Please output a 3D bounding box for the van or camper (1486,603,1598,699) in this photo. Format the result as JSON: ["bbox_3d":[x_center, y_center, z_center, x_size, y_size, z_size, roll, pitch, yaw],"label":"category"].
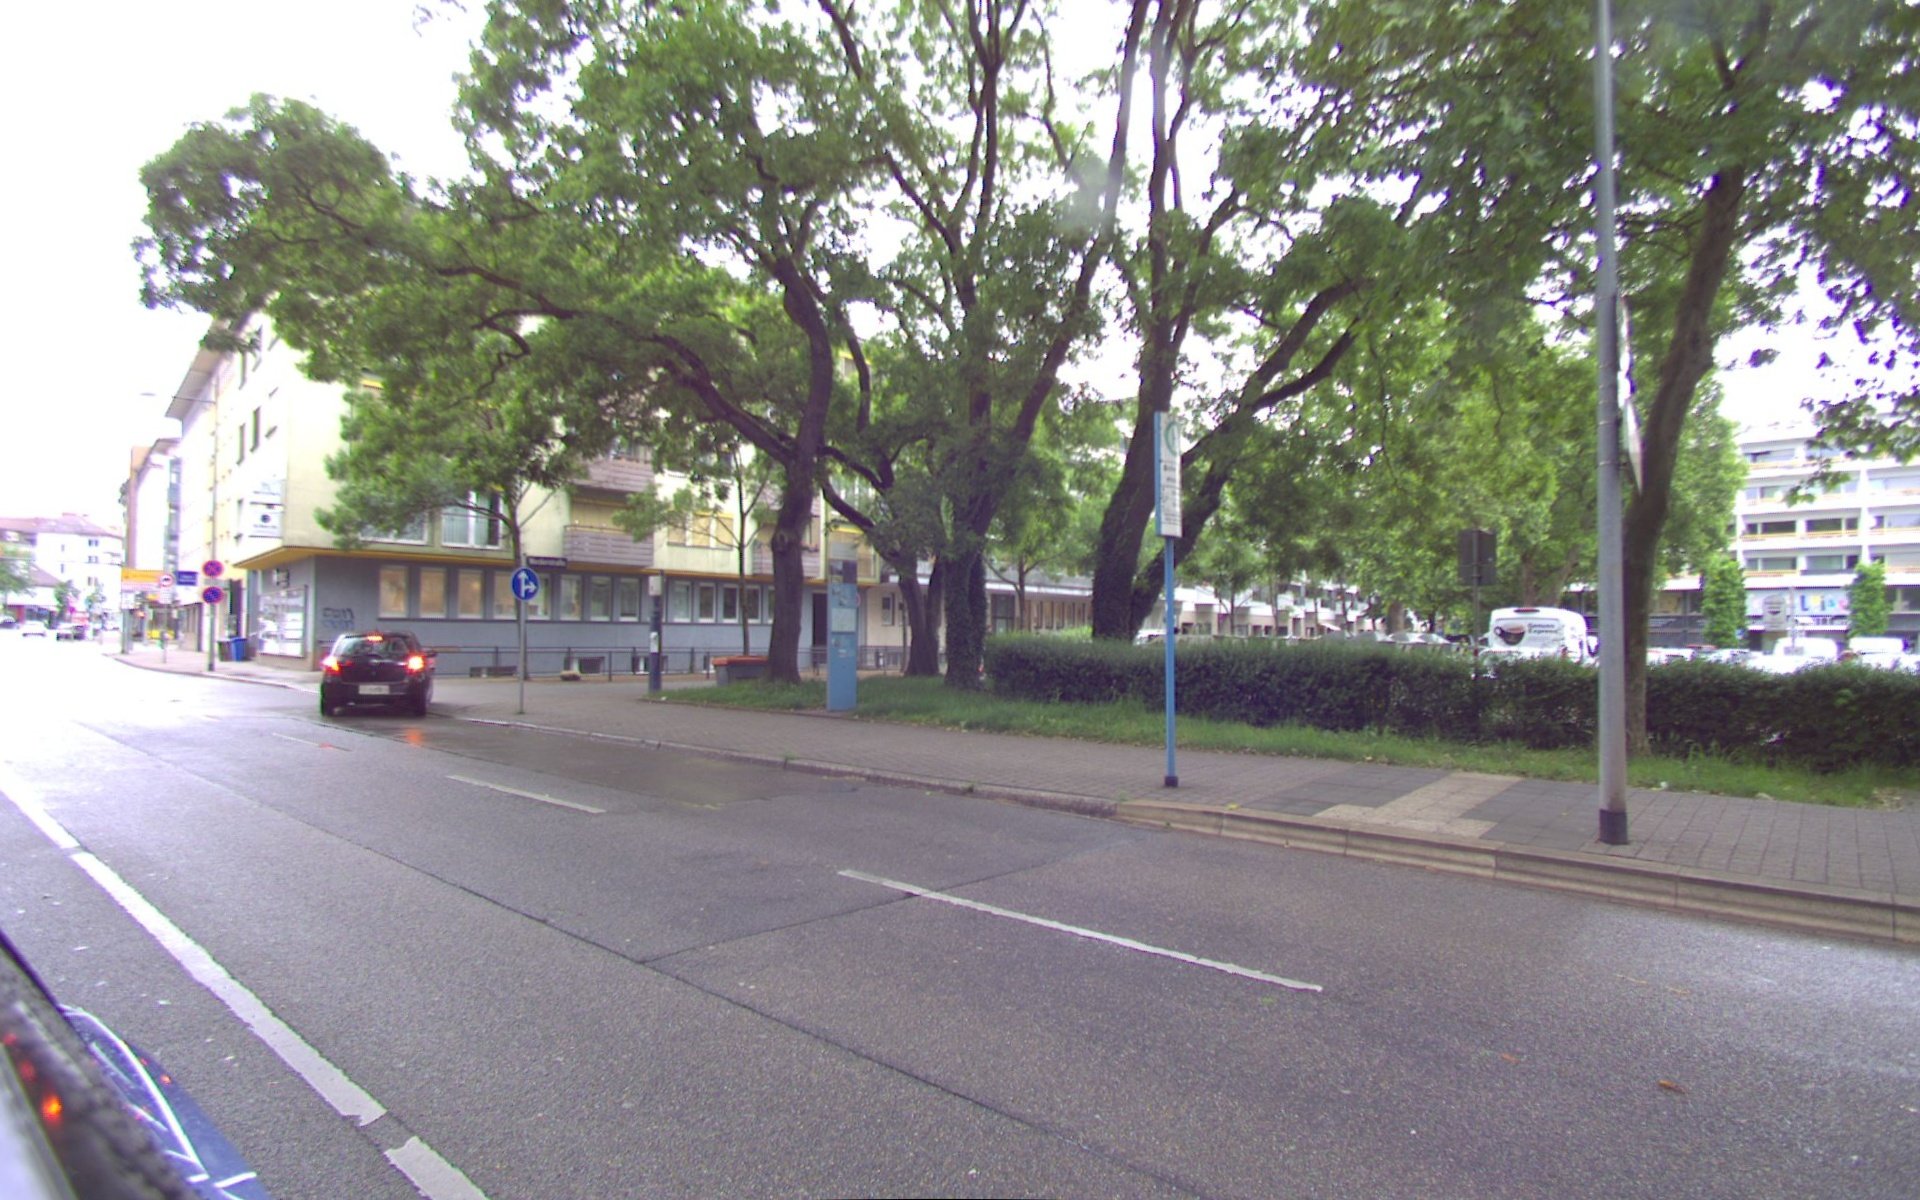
[{"bbox_3d":[16.849,1.460,29.196,2.097,2.556,4.367,-1,-3,40],"label":"van or camper"}]

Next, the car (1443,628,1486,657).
[{"bbox_3d":[27.265,2.289,54.664,1.428,1.439,2.926,-2,-1,40],"label":"car"}]

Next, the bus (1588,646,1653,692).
[{"bbox_3d":[24.158,2.491,36.959,1.604,1.551,3.385,-1,-3,40],"label":"bus"}]

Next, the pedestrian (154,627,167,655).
[{"bbox_3d":[-54.153,2.771,68.551,0.586,1.858,0.565,3,-4,-42],"label":"pedestrian"}]

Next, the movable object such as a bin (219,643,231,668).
[{"bbox_3d":[-30.361,2.281,41.798,0.333,1.037,0.354,3,-4,-42],"label":"movable object such as a bin"}]

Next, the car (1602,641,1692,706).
[{"bbox_3d":[16.736,1.754,24.606,1.391,1.446,3.227,-2,-4,41],"label":"car"}]

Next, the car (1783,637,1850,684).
[{"bbox_3d":[28.177,1.963,33.338,1.604,1.439,3.275,-1,-3,40],"label":"car"}]

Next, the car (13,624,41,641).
[{"bbox_3d":[-94.880,3.267,102.894,4.002,1.670,1.842,-2,-4,45],"label":"car"}]

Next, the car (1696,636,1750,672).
[{"bbox_3d":[35.723,2.484,47.350,1.837,1.435,3.780,-1,0,39],"label":"car"}]

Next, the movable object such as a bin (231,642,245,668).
[{"bbox_3d":[-29.865,2.273,41.863,0.409,1.037,0.354,3,-4,-42],"label":"movable object such as a bin"}]

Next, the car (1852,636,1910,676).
[{"bbox_3d":[40.330,2.424,44.386,1.639,1.536,3.161,-1,0,38],"label":"car"}]

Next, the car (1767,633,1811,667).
[{"bbox_3d":[41.987,2.501,51.288,1.639,1.536,3.161,-1,0,38],"label":"car"}]

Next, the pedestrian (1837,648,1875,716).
[{"bbox_3d":[16.745,1.521,18.924,0.465,1.222,0.433,-1,0,34],"label":"pedestrian"}]

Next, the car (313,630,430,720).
[{"bbox_3d":[-11.028,1.348,18.864,1.546,1.500,3.576,4,-4,-34],"label":"car"}]

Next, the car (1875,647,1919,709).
[{"bbox_3d":[23.419,1.889,24.791,1.391,1.446,3.227,-2,-4,41],"label":"car"}]

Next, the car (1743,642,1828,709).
[{"bbox_3d":[19.241,1.721,23.552,1.391,1.446,3.227,-2,-4,41],"label":"car"}]

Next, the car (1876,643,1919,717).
[{"bbox_3d":[19.932,1.634,20.930,1.391,1.446,3.227,-2,-4,41],"label":"car"}]

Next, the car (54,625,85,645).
[{"bbox_3d":[-82.096,3.224,93.280,4.002,1.730,1.863,-2,-4,45],"label":"car"}]

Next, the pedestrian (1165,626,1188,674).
[{"bbox_3d":[5.661,1.309,26.452,0.482,1.222,0.435,-1,0,23],"label":"pedestrian"}]

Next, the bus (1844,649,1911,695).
[{"bbox_3d":[33.160,2.573,36.644,1.604,1.551,3.385,-1,-3,40],"label":"bus"}]

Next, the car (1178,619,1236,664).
[{"bbox_3d":[11.702,1.959,47.827,1.988,2.029,3.967,0,-3,24],"label":"car"}]

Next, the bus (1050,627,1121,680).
[{"bbox_3d":[4.839,2.036,38.670,1.703,1.939,3.697,0,-3,24],"label":"bus"}]
